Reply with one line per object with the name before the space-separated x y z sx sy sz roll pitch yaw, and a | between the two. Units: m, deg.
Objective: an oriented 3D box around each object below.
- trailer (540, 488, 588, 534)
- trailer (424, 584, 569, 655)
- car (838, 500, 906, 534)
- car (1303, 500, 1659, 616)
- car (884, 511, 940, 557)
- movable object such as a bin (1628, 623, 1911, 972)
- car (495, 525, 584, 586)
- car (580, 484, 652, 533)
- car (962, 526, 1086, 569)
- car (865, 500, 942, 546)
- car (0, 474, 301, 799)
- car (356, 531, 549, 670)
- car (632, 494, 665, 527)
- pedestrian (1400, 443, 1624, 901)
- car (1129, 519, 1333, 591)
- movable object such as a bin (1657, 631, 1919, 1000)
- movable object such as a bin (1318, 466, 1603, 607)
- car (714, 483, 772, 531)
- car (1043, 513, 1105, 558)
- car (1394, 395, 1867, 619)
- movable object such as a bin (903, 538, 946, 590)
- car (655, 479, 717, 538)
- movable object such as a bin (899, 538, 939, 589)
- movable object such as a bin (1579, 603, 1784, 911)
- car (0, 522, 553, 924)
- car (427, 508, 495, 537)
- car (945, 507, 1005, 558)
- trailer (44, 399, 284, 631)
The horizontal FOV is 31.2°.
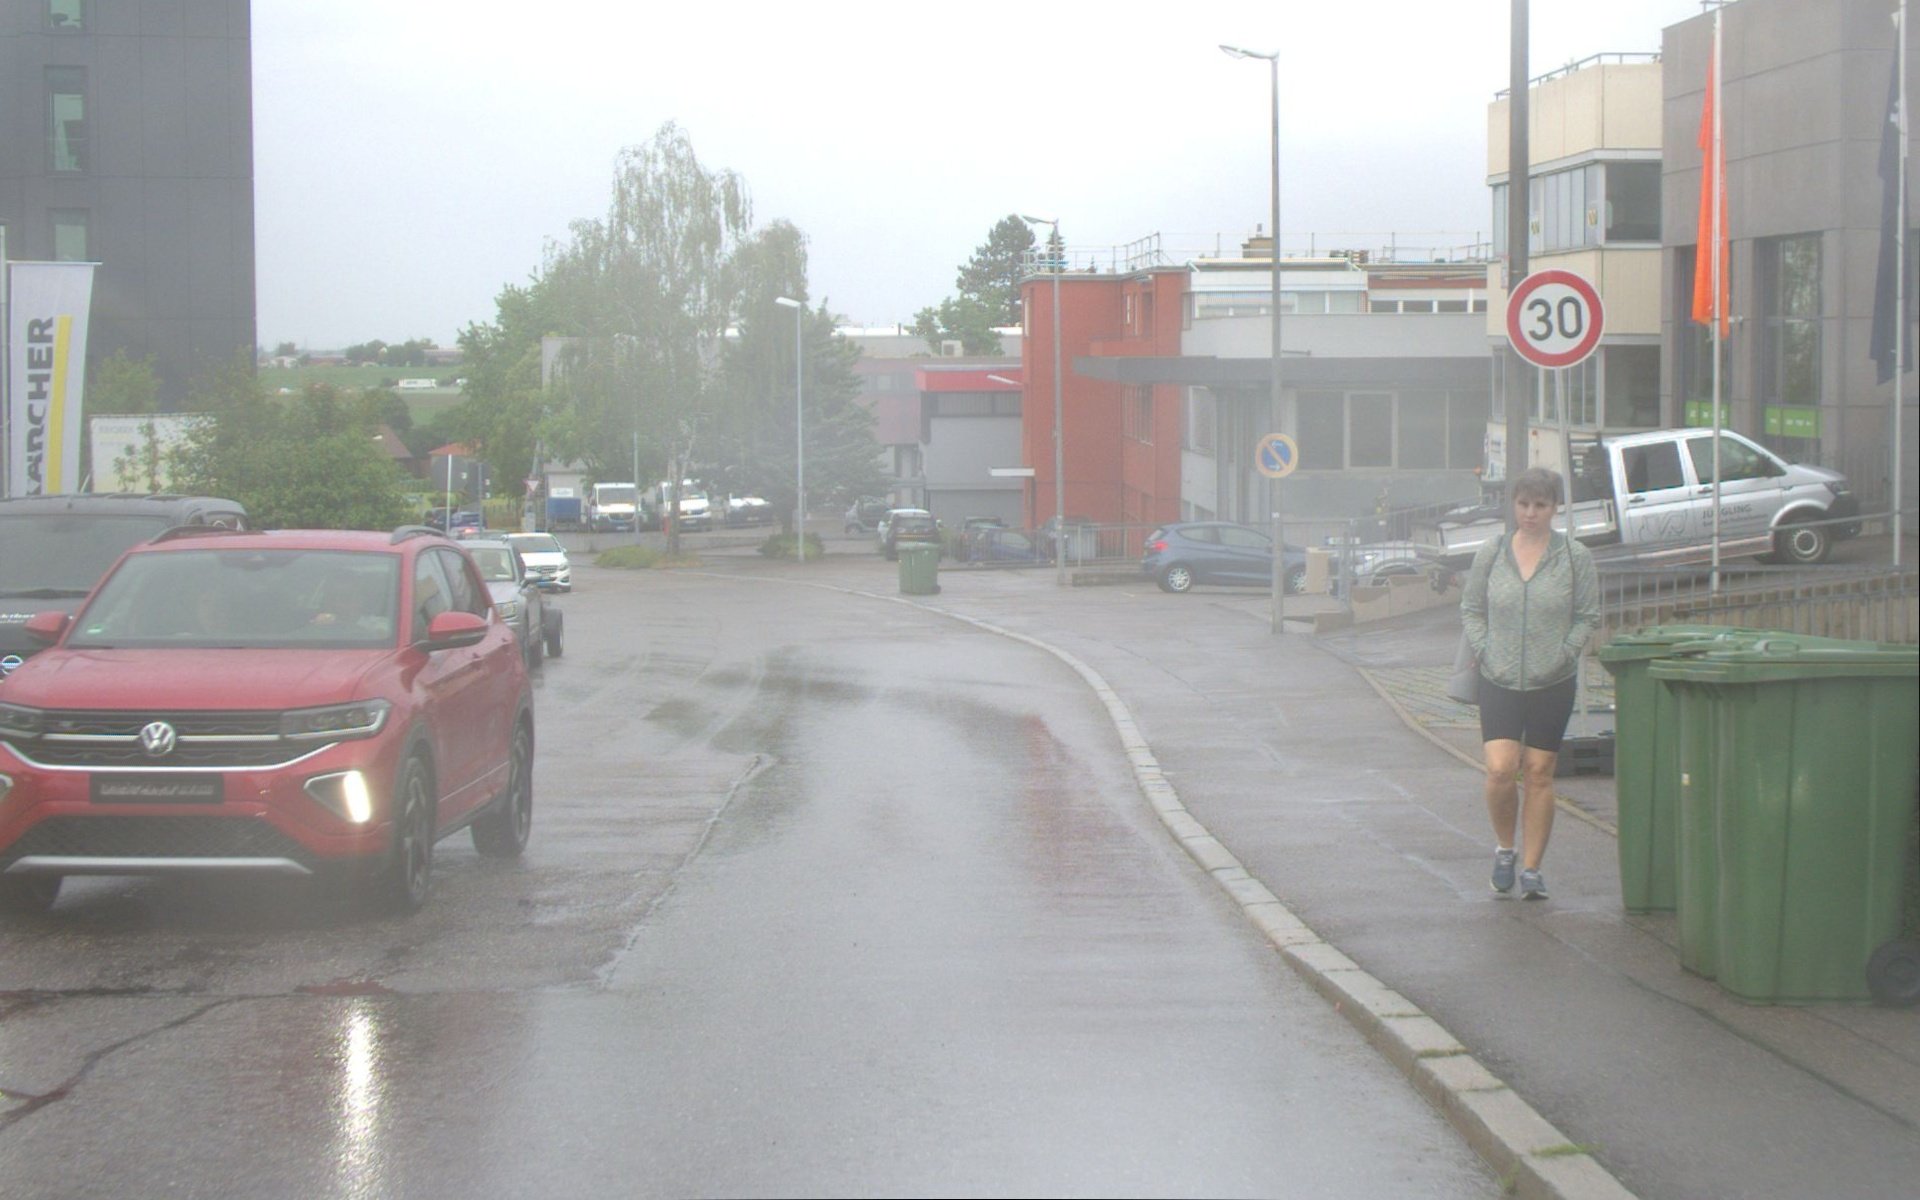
trailer | -17.525 -3.936 152.031 1.852 2.007 4.001 -1 2 -10
trailer | -6.320 0.250 47.178 1.680 0.885 3.898 -1 1 -3
car | -3.500 -3.291 136.194 2.547 1.347 1.242 -1 1 -7
car | 7.974 -0.660 52.859 5.090 1.608 1.925 -2 2 -3
car | -1.602 -2.174 114.157 1.697 1.470 4.000 -1 1 -3
movable object such as a bin | 2.579 0.617 11.007 0.743 1.063 0.637 0 1 -1
car | -11.093 -1.158 90.459 1.769 1.507 4.146 -2 1 -14
car | -14.852 -3.923 148.128 2.264 2.007 4.001 -1 1 -18
car | 1.783 -1.473 96.448 3.400 1.159 1.792 -1 2 -1
car | -2.012 -2.712 121.614 2.064 1.547 4.001 -1 1 -10
car | -5.556 0.169 21.780 1.915 1.825 4.848 0 1 -1
car | -6.247 -0.016 42.793 1.957 1.571 4.841 -2 1 -4
car | -13.980 -4.015 154.200 1.290 1.419 2.547 -1 1 -9
pedestrian | 2.180 0.272 13.652 0.736 1.761 0.808 0 1 -1
car | 5.463 -0.907 69.655 3.894 1.379 1.821 1 0 -3
movable object such as a bin | 2.557 0.623 10.271 0.771 1.026 0.808 0 1 -1
movable object such as a bin | 7.950 -1.011 54.748 4.254 2.103 1.477 -2 1 -2
car | -9.471 -4.043 149.761 2.145 2.007 3.940 -1 1 -9
car | 3.771 -2.118 114.197 1.729 1.417 4.000 -1 1 -3
car | 8.433 -1.162 43.587 5.298 2.006 2.222 -9 1 -2
movable object such as a bin | -0.759 -0.776 73.730 0.806 1.089 0.709 -2 2 -7
car | -11.864 -3.930 148.684 2.192 2.451 4.001 -1 1 -11
movable object such as a bin | -0.887 -0.784 74.373 0.775 1.072 0.584 -2 1 -7
movable object such as a bin | 2.732 0.574 12.981 0.729 1.109 0.703 0 1 14
car | -2.948 0.447 14.878 1.747 1.503 3.935 0 0 2
car | -28.044 -4.361 193.068 2.460 1.534 4.000 -1 1 -29
car | 0.481 -2.237 114.717 1.739 1.648 4.000 -1 1 -3
trailer | -14.904 -1.565 64.307 4.181 4.188 2.002 -1 1 36
